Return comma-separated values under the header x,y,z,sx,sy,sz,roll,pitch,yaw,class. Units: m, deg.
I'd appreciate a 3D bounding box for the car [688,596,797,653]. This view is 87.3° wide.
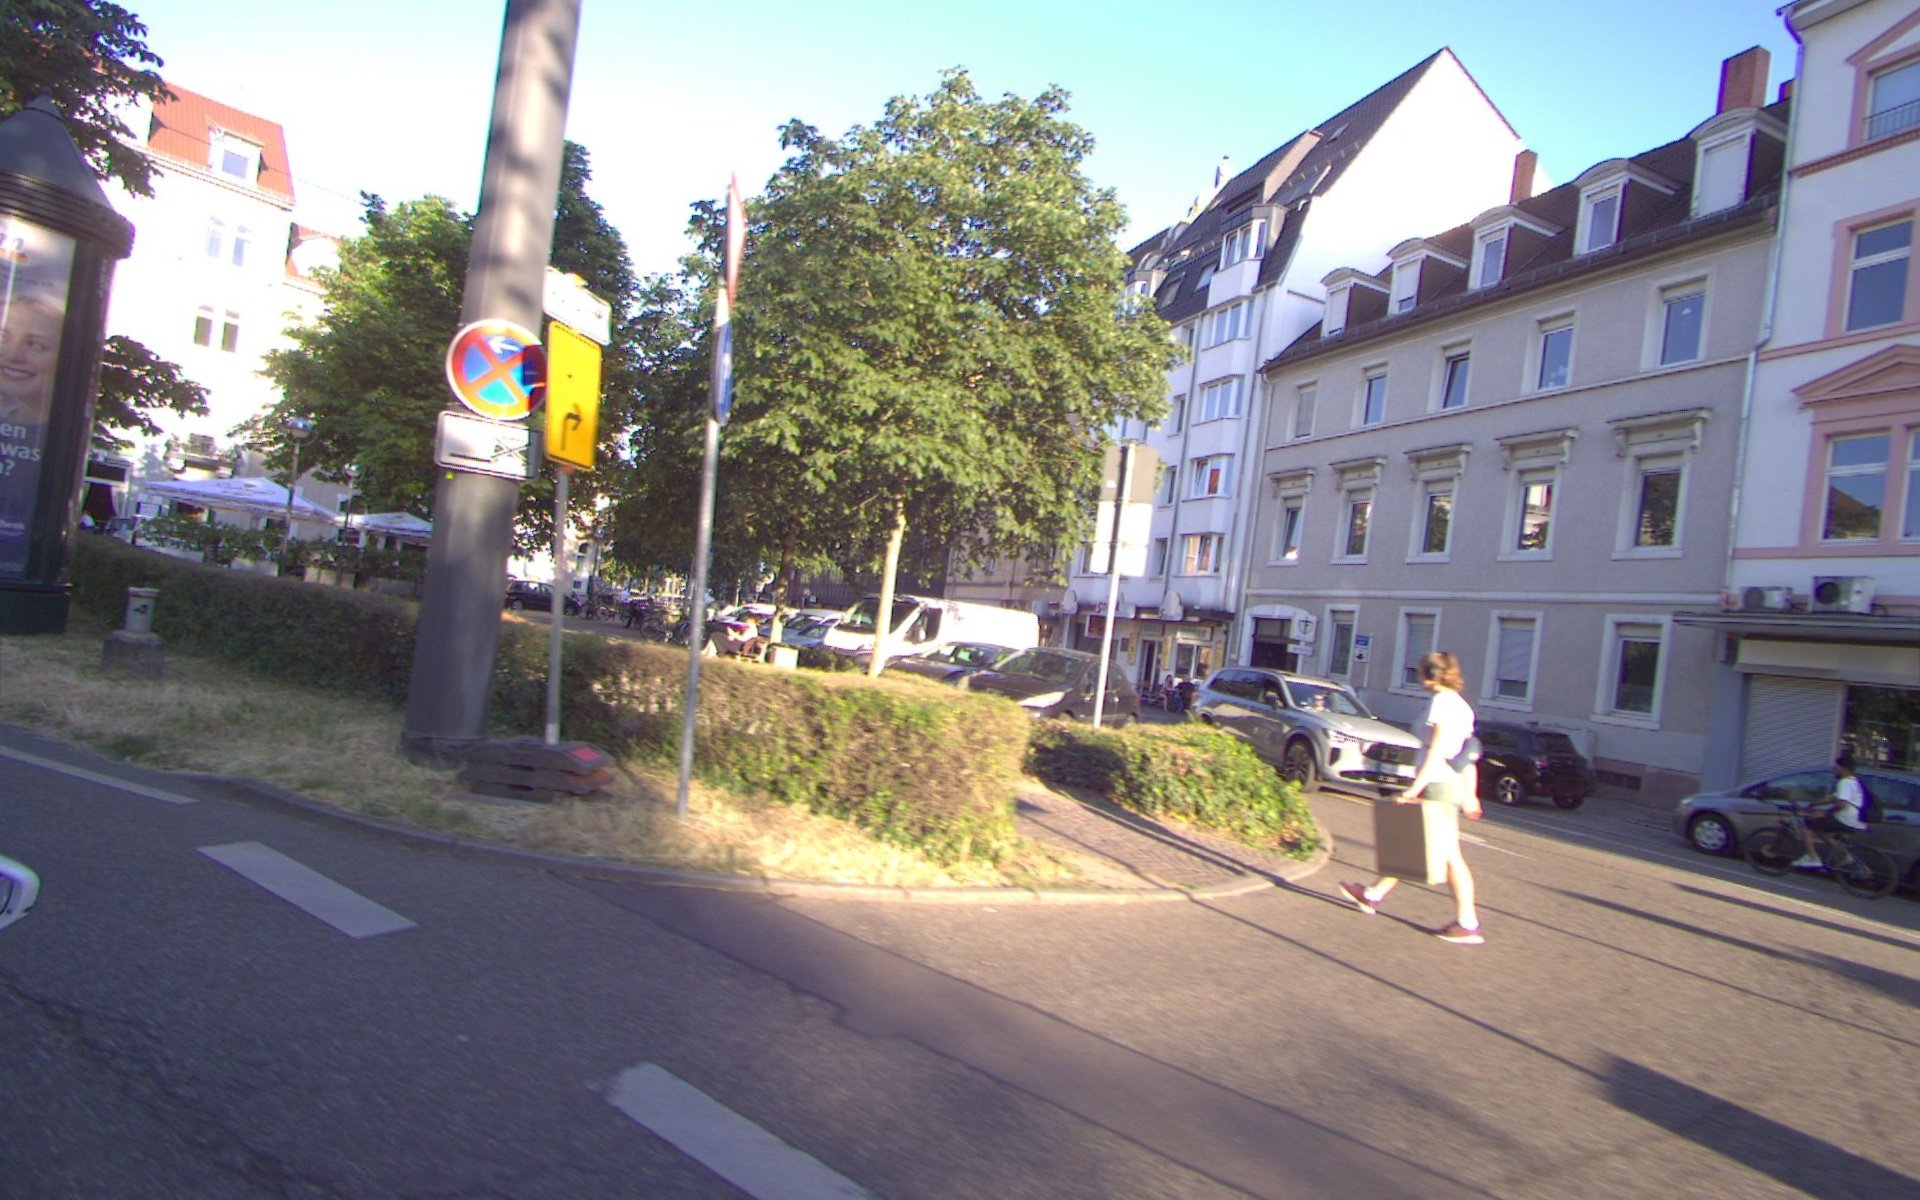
x,y,z,sx,sy,sz,roll,pitch,yaw,class
-9.174,1.029,42.517,3.958,1.793,1.900,10,-3,-29,car

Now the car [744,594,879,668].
x,y,z,sx,sy,sz,roll,pitch,yaw,class
-4.506,1.012,31.155,1.966,1.724,3.999,7,-3,29,car

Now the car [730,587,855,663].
x,y,z,sx,sy,sz,roll,pitch,yaw,class
-5.696,0.914,34.647,1.966,2.036,3.999,7,-3,29,car

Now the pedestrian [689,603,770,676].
x,y,z,sx,sy,sz,roll,pitch,yaw,class
-4.629,0.783,20.183,1.352,1.239,0.957,9,-2,-19,pedestrian

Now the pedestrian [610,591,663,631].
x,y,z,sx,sy,sz,roll,pitch,yaw,class
-12.124,0.427,37.711,1.426,1.264,1.034,8,-2,6,pedestrian

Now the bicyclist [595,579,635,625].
x,y,z,sx,sy,sz,roll,pitch,yaw,class
-16.066,0.082,46.844,1.241,1.938,0.973,10,-2,-43,bicyclist

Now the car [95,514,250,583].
x,y,z,sx,sy,sz,roll,pitch,yaw,class
-31.668,-2.031,40.549,1.997,1.985,4.492,6,-3,43,car

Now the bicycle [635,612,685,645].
x,y,z,sx,sy,sz,roll,pitch,yaw,class
-8.653,0.835,29.049,1.259,0.788,0.444,8,-1,-23,bicycle

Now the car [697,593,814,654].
x,y,z,sx,sy,sz,roll,pitch,yaw,class
-8.033,0.943,39.691,3.977,1.793,1.891,11,-3,-42,car

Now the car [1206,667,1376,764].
x,y,z,sx,sy,sz,roll,pitch,yaw,class
8.308,2.882,25.658,1.925,1.908,3.984,6,-2,-20,car

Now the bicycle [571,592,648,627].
x,y,z,sx,sy,sz,roll,pitch,yaw,class
-16.258,0.471,46.717,3.179,1.144,0.973,11,-3,-43,bicycle

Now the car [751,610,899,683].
x,y,z,sx,sy,sz,roll,pitch,yaw,class
-3.637,1.340,27.774,1.965,1.502,4.001,7,-3,27,car

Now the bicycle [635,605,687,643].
x,y,z,sx,sy,sz,roll,pitch,yaw,class
-9.256,0.745,31.160,1.453,1.007,0.323,8,-1,-17,bicycle

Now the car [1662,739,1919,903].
x,y,z,sx,sy,sz,roll,pitch,yaw,class
12.722,3.112,14.327,1.971,1.659,3.983,5,-1,-21,car

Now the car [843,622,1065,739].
x,y,z,sx,sy,sz,roll,pitch,yaw,class
0.018,1.509,18.112,1.921,1.621,3.994,7,-3,34,car

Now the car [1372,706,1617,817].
x,y,z,sx,sy,sz,roll,pitch,yaw,class
10.465,3.132,20.029,1.801,1.510,3.981,6,-2,-22,car

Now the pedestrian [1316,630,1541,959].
x,y,z,sx,sy,sz,roll,pitch,yaw,class
2.902,1.143,6.227,0.962,1.750,0.725,7,-2,36,pedestrian

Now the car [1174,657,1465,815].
x,y,z,sx,sy,sz,roll,pitch,yaw,class
5.590,2.069,16.432,1.970,1.791,4.699,9,-3,-15,car

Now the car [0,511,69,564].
x,y,z,sx,sy,sz,roll,pitch,yaw,class
-35.438,-2.498,36.431,1.997,1.635,4.492,5,-4,43,car

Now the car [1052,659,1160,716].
x,y,z,sx,sy,sz,roll,pitch,yaw,class
4.995,2.988,34.917,1.925,1.514,3.984,6,-2,-20,car

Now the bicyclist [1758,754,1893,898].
x,y,z,sx,sy,sz,roll,pitch,yaw,class
11.341,2.940,13.205,0.712,1.632,1.005,9,-2,-22,bicyclist

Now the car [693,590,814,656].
x,y,z,sx,sy,sz,roll,pitch,yaw,class
-7.395,0.869,36.348,1.881,1.793,3.997,7,-3,31,car

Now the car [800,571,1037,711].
x,y,z,sx,sy,sz,roll,pitch,yaw,class
-0.748,0.951,21.371,2.065,2.265,4.865,6,-3,40,car

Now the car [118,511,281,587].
x,y,z,sx,sy,sz,roll,pitch,yaw,class
-27.894,-1.830,36.991,1.975,2.036,4.414,6,-3,45,car

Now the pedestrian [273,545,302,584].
x,y,z,sx,sy,sz,roll,pitch,yaw,class
-20.933,-1.109,31.310,0.551,1.130,0.491,8,-2,-25,pedestrian

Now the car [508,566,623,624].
x,y,z,sx,sy,sz,roll,pitch,yaw,class
-18.437,-0.190,47.162,1.975,2.036,4.414,6,-3,45,car

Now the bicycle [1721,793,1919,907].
x,y,z,sx,sy,sz,roll,pitch,yaw,class
11.271,3.252,13.235,0.723,1.023,1.826,9,-2,-22,bicycle
